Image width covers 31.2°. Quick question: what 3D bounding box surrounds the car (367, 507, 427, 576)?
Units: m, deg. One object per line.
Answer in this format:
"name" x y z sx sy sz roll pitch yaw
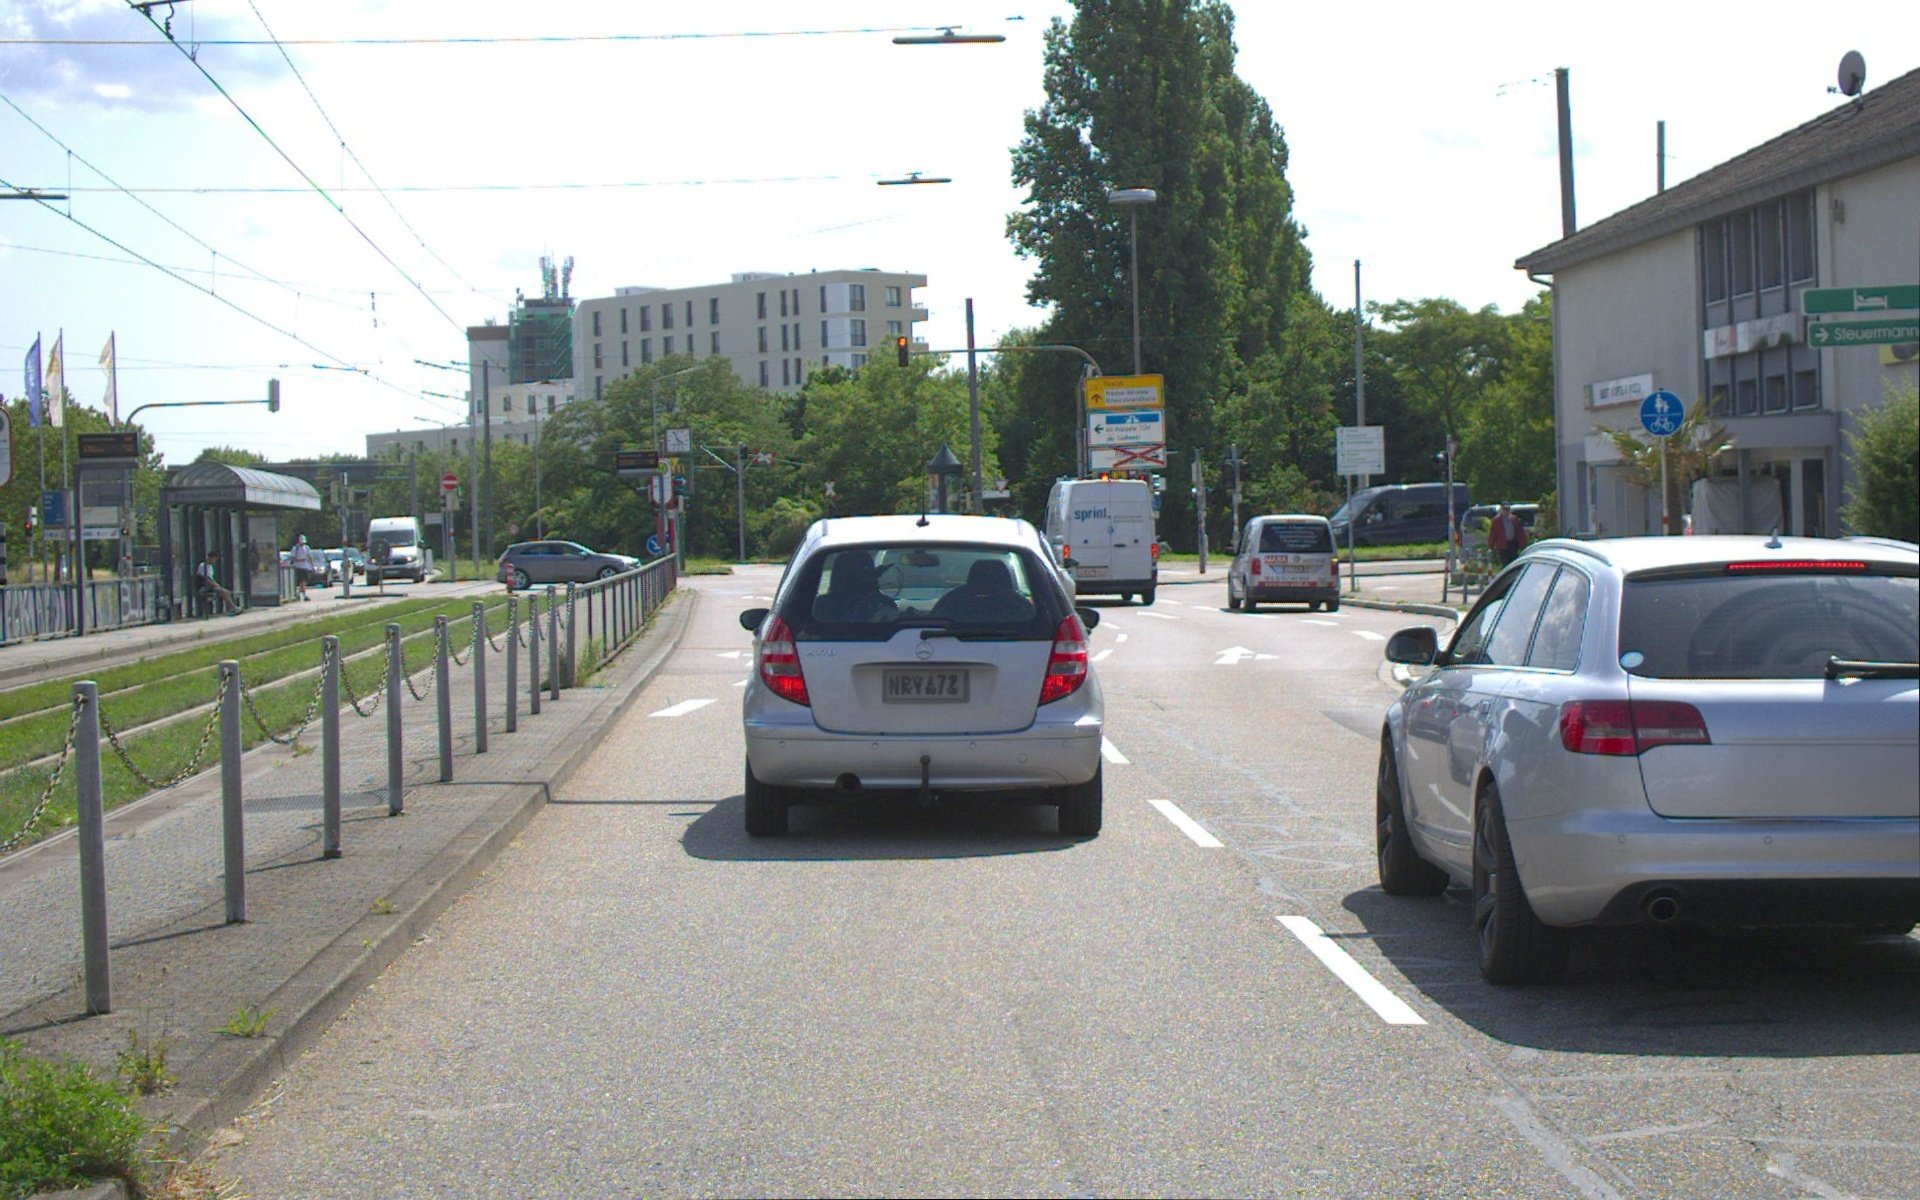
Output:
"car" -21.820 -2.251 133.339 1.993 2.597 4.880 0 1 -6

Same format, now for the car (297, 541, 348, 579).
"car" -25.859 -1.624 139.571 1.801 1.536 4.165 0 1 -7

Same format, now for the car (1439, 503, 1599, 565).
"car" 15.156 -1.775 93.111 4.081 1.631 1.891 0 1 -33

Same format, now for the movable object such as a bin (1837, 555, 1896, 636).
"movable object such as a bin" 10.199 -0.052 38.680 0.444 0.892 0.546 -2 1 -8

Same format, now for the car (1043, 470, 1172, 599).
"car" 3.004 -1.359 71.092 2.040 2.549 5.232 -1 1 -4

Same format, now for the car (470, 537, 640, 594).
"car" -12.106 -1.037 102.960 4.862 1.654 2.000 0 1 0

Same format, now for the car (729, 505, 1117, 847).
"car" -0.199 0.312 18.149 1.787 1.571 4.095 1 1 -1

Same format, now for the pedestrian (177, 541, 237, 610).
"pedestrian" -15.252 -0.498 69.631 1.058 1.371 0.860 0 1 -4

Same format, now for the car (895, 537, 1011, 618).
"car" -0.160 -0.432 62.919 1.869 1.415 4.100 0 1 -4

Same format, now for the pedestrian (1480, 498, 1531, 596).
"pedestrian" 10.165 -0.996 64.061 0.721 1.776 0.703 -4 1 -1

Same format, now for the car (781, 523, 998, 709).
"car" -0.586 0.079 29.958 1.739 1.487 4.630 0 1 0

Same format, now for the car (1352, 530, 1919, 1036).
"car" 2.602 0.496 12.440 1.854 1.487 4.536 0 1 0

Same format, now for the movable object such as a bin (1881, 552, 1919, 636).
"movable object such as a bin" 10.702 -0.071 38.708 0.441 0.931 0.550 -2 1 -8

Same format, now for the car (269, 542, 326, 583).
"car" -25.302 -1.448 131.368 1.896 1.536 3.730 0 1 -7

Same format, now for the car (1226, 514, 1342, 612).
"car" 6.011 -0.690 64.122 1.885 1.725 4.094 -2 1 2

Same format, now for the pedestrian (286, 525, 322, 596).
"pedestrian" -16.711 -1.012 87.614 0.807 1.789 0.709 -1 1 -17
